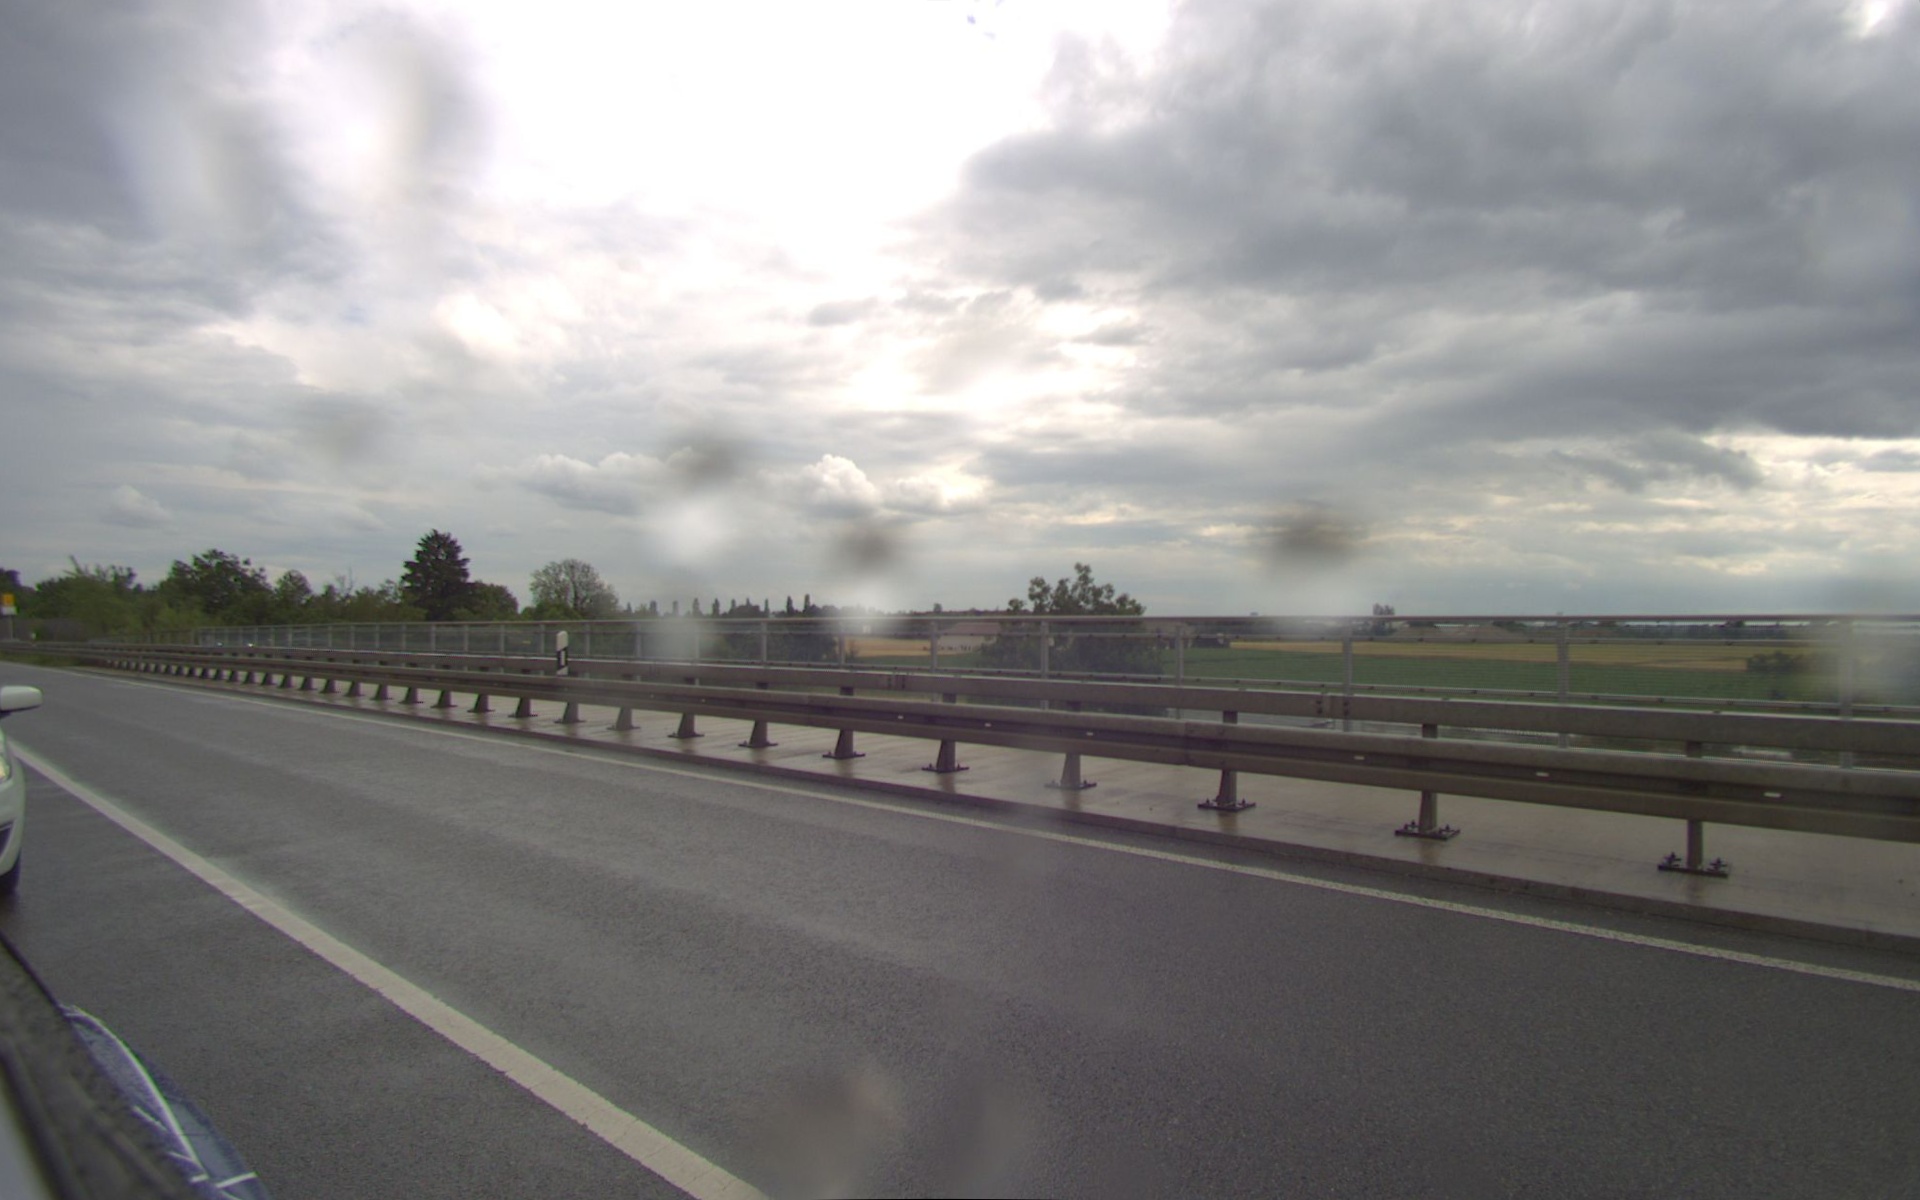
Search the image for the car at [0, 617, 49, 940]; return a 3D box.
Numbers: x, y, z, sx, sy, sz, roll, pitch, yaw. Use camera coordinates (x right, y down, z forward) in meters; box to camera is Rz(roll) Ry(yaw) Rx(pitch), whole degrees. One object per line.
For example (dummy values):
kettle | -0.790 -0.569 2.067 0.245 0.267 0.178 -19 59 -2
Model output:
car | -6.442 0.861 5.554 4.127 1.496 1.653 -1 0 41
